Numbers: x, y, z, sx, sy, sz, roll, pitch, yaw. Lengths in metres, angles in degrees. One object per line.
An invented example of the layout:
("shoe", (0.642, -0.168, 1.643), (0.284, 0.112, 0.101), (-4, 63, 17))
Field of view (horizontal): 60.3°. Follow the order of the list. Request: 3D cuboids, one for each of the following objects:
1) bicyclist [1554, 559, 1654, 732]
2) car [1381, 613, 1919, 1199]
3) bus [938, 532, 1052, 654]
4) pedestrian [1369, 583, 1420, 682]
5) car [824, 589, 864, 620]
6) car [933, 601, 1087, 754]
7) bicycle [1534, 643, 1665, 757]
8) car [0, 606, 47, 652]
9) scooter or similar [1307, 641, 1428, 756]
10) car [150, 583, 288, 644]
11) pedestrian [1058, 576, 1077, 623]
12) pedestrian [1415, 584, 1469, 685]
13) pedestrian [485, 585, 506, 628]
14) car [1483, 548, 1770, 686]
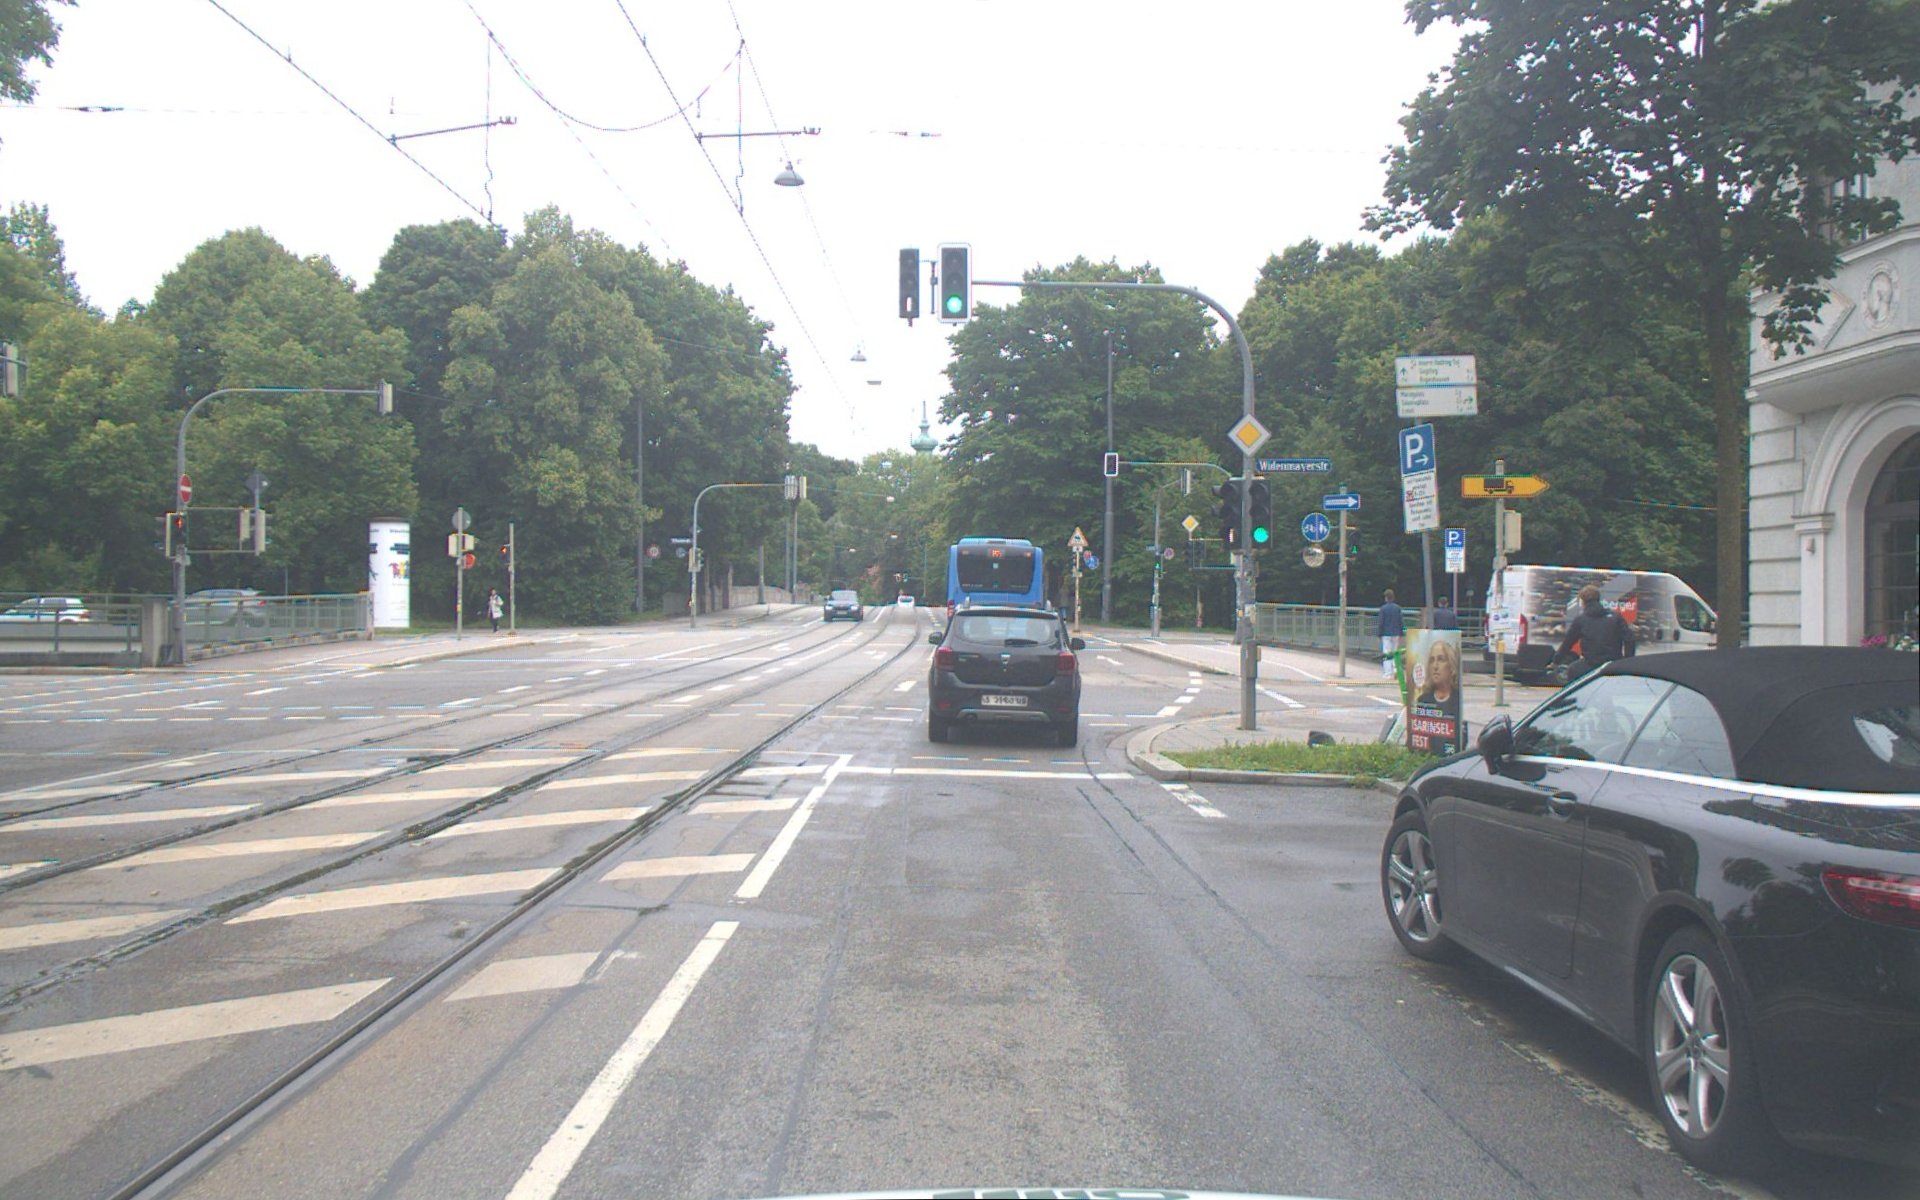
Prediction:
("bicyclist", (6.787, 0.470, 17.459), (0.709, 1.759, 0.726), (2, -1, -2))
("car", (2.908, 0.889, 5.773), (1.679, 1.619, 4.326), (2, -1, -1))
("bus", (0.852, -0.150, 46.200), (2.625, 3.050, 6.956), (2, -1, -3))
("pedestrian", (9.185, 0.683, 34.998), (0.813, 2.049, 0.780), (2, -1, -1))
("car", (-5.563, 0.212, 79.500), (1.752, 1.394, 3.398), (2, -1, -2))
("car", (0.510, 0.848, 19.558), (1.568, 1.584, 3.524), (2, -1, -2))
("bicycle", (6.768, 1.033, 17.601), (0.567, 1.097, 1.911), (-2, 0, -2))
("car", (-32.597, 0.949, 55.590), (3.050, 1.477, 1.249), (2, -1, -6))
("scooter or similar", (4.222, 1.009, 17.183), (1.167, 1.115, 0.590), (2, -1, 12))
("car", (-25.353, 0.465, 56.681), (3.946, 1.920, 1.488), (2, -1, -8))
("pedestrian", (4.932, -0.021, 75.830), (0.747, 2.153, 0.853), (2, -1, -1))
("pedestrian", (9.990, 0.706, 34.292), (0.813, 2.049, 0.780), (2, -1, -1))
("pedestrian", (-17.003, 0.244, 60.555), (0.520, 1.527, 0.588), (2, -1, 3))
("car", (14.157, 0.373, 35.340), (5.191, 2.658, 2.229), (2, -1, -4))
